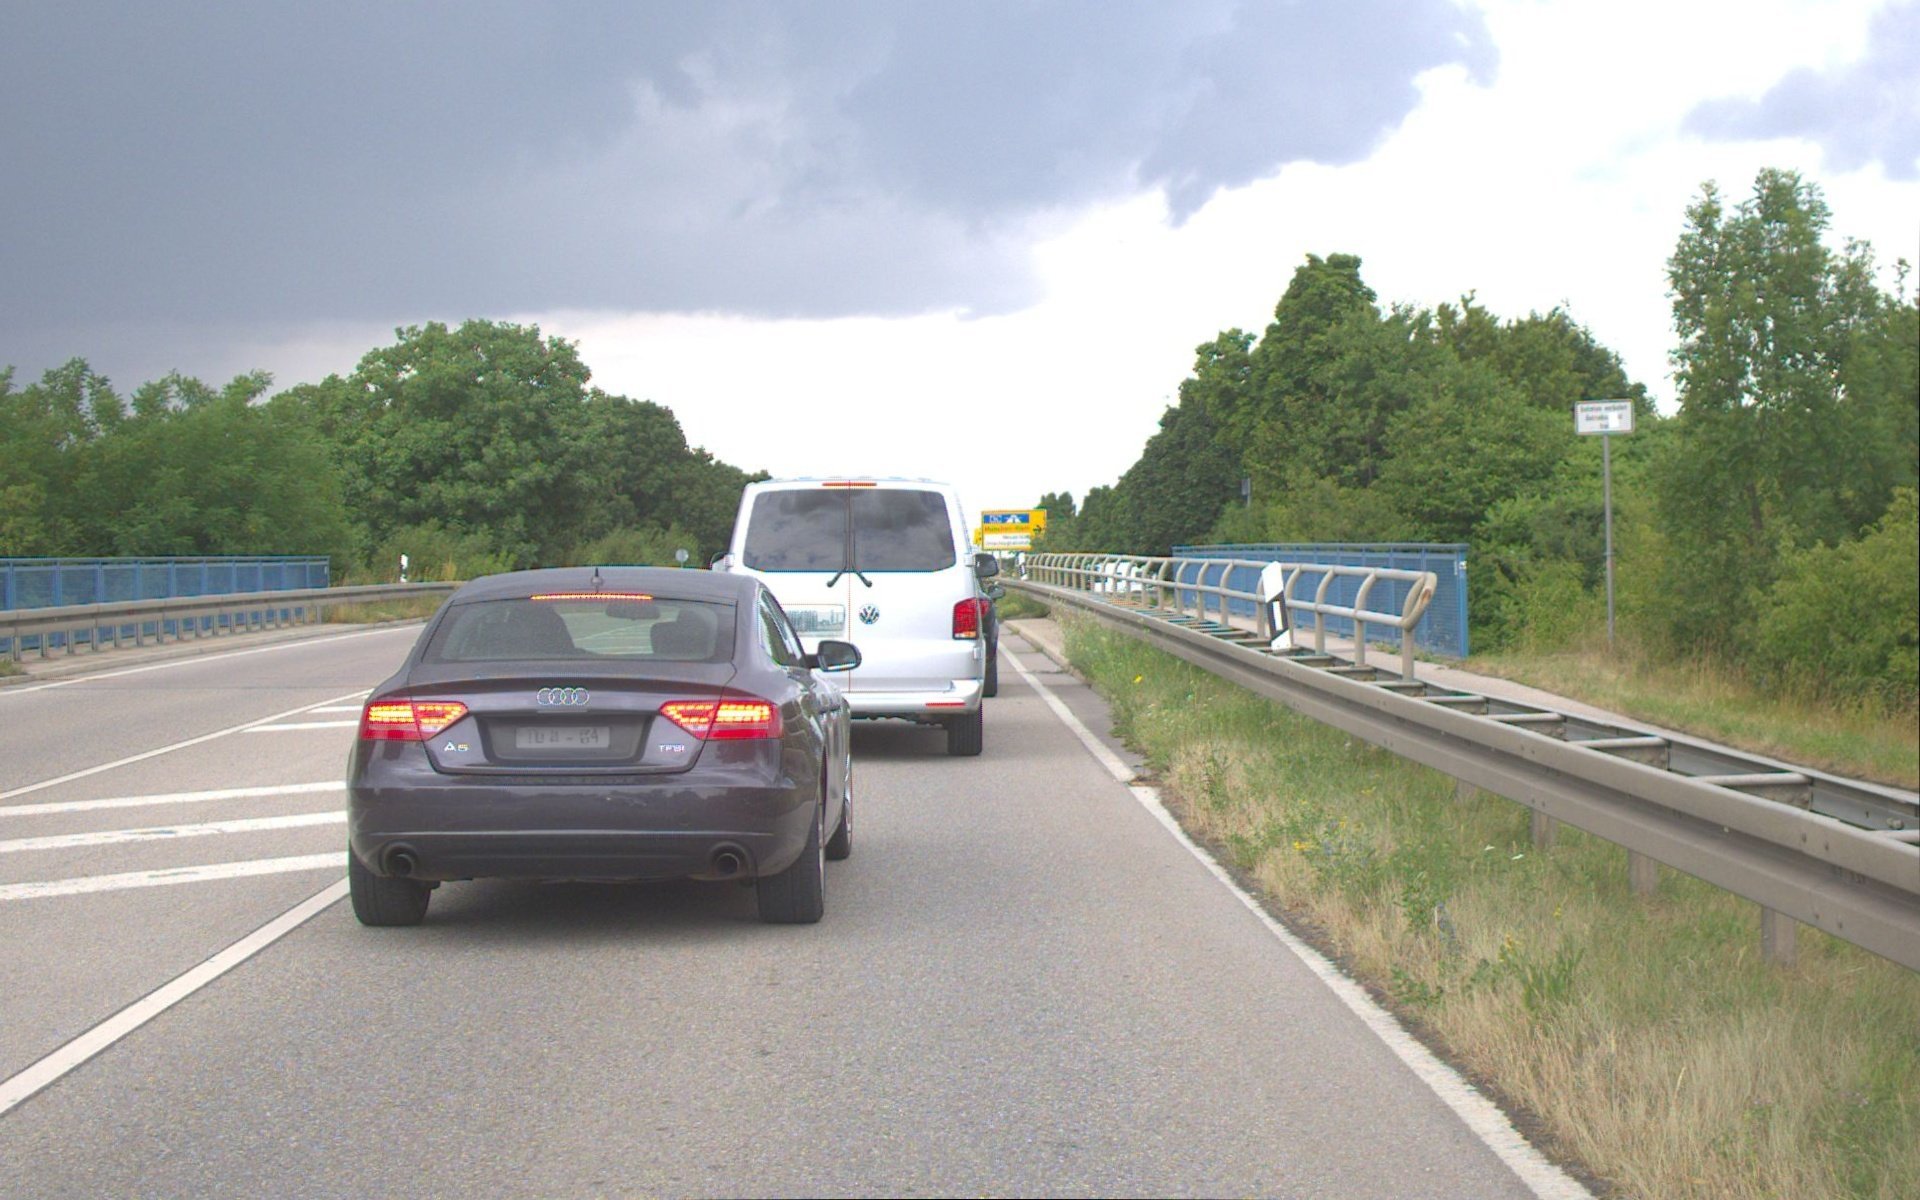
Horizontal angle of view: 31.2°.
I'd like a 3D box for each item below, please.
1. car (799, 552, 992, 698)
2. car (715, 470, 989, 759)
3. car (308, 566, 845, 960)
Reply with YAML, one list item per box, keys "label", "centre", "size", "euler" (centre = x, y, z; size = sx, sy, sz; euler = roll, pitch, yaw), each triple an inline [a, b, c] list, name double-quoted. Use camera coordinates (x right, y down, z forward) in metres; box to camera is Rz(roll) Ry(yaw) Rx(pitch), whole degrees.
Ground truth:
- label: "car"
  centre: [-0.601, 0.207, 34.529]
  size: [1.821, 1.376, 4.072]
  euler: [0, 1, 0]
- label: "car"
  centre: [-0.761, 0.072, 25.292]
  size: [1.828, 1.929, 4.000]
  euler: [-1, 1, -1]
- label: "car"
  centre: [-1.442, 0.565, 14.365]
  size: [1.821, 1.376, 4.072]
  euler: [-1, 1, -1]
